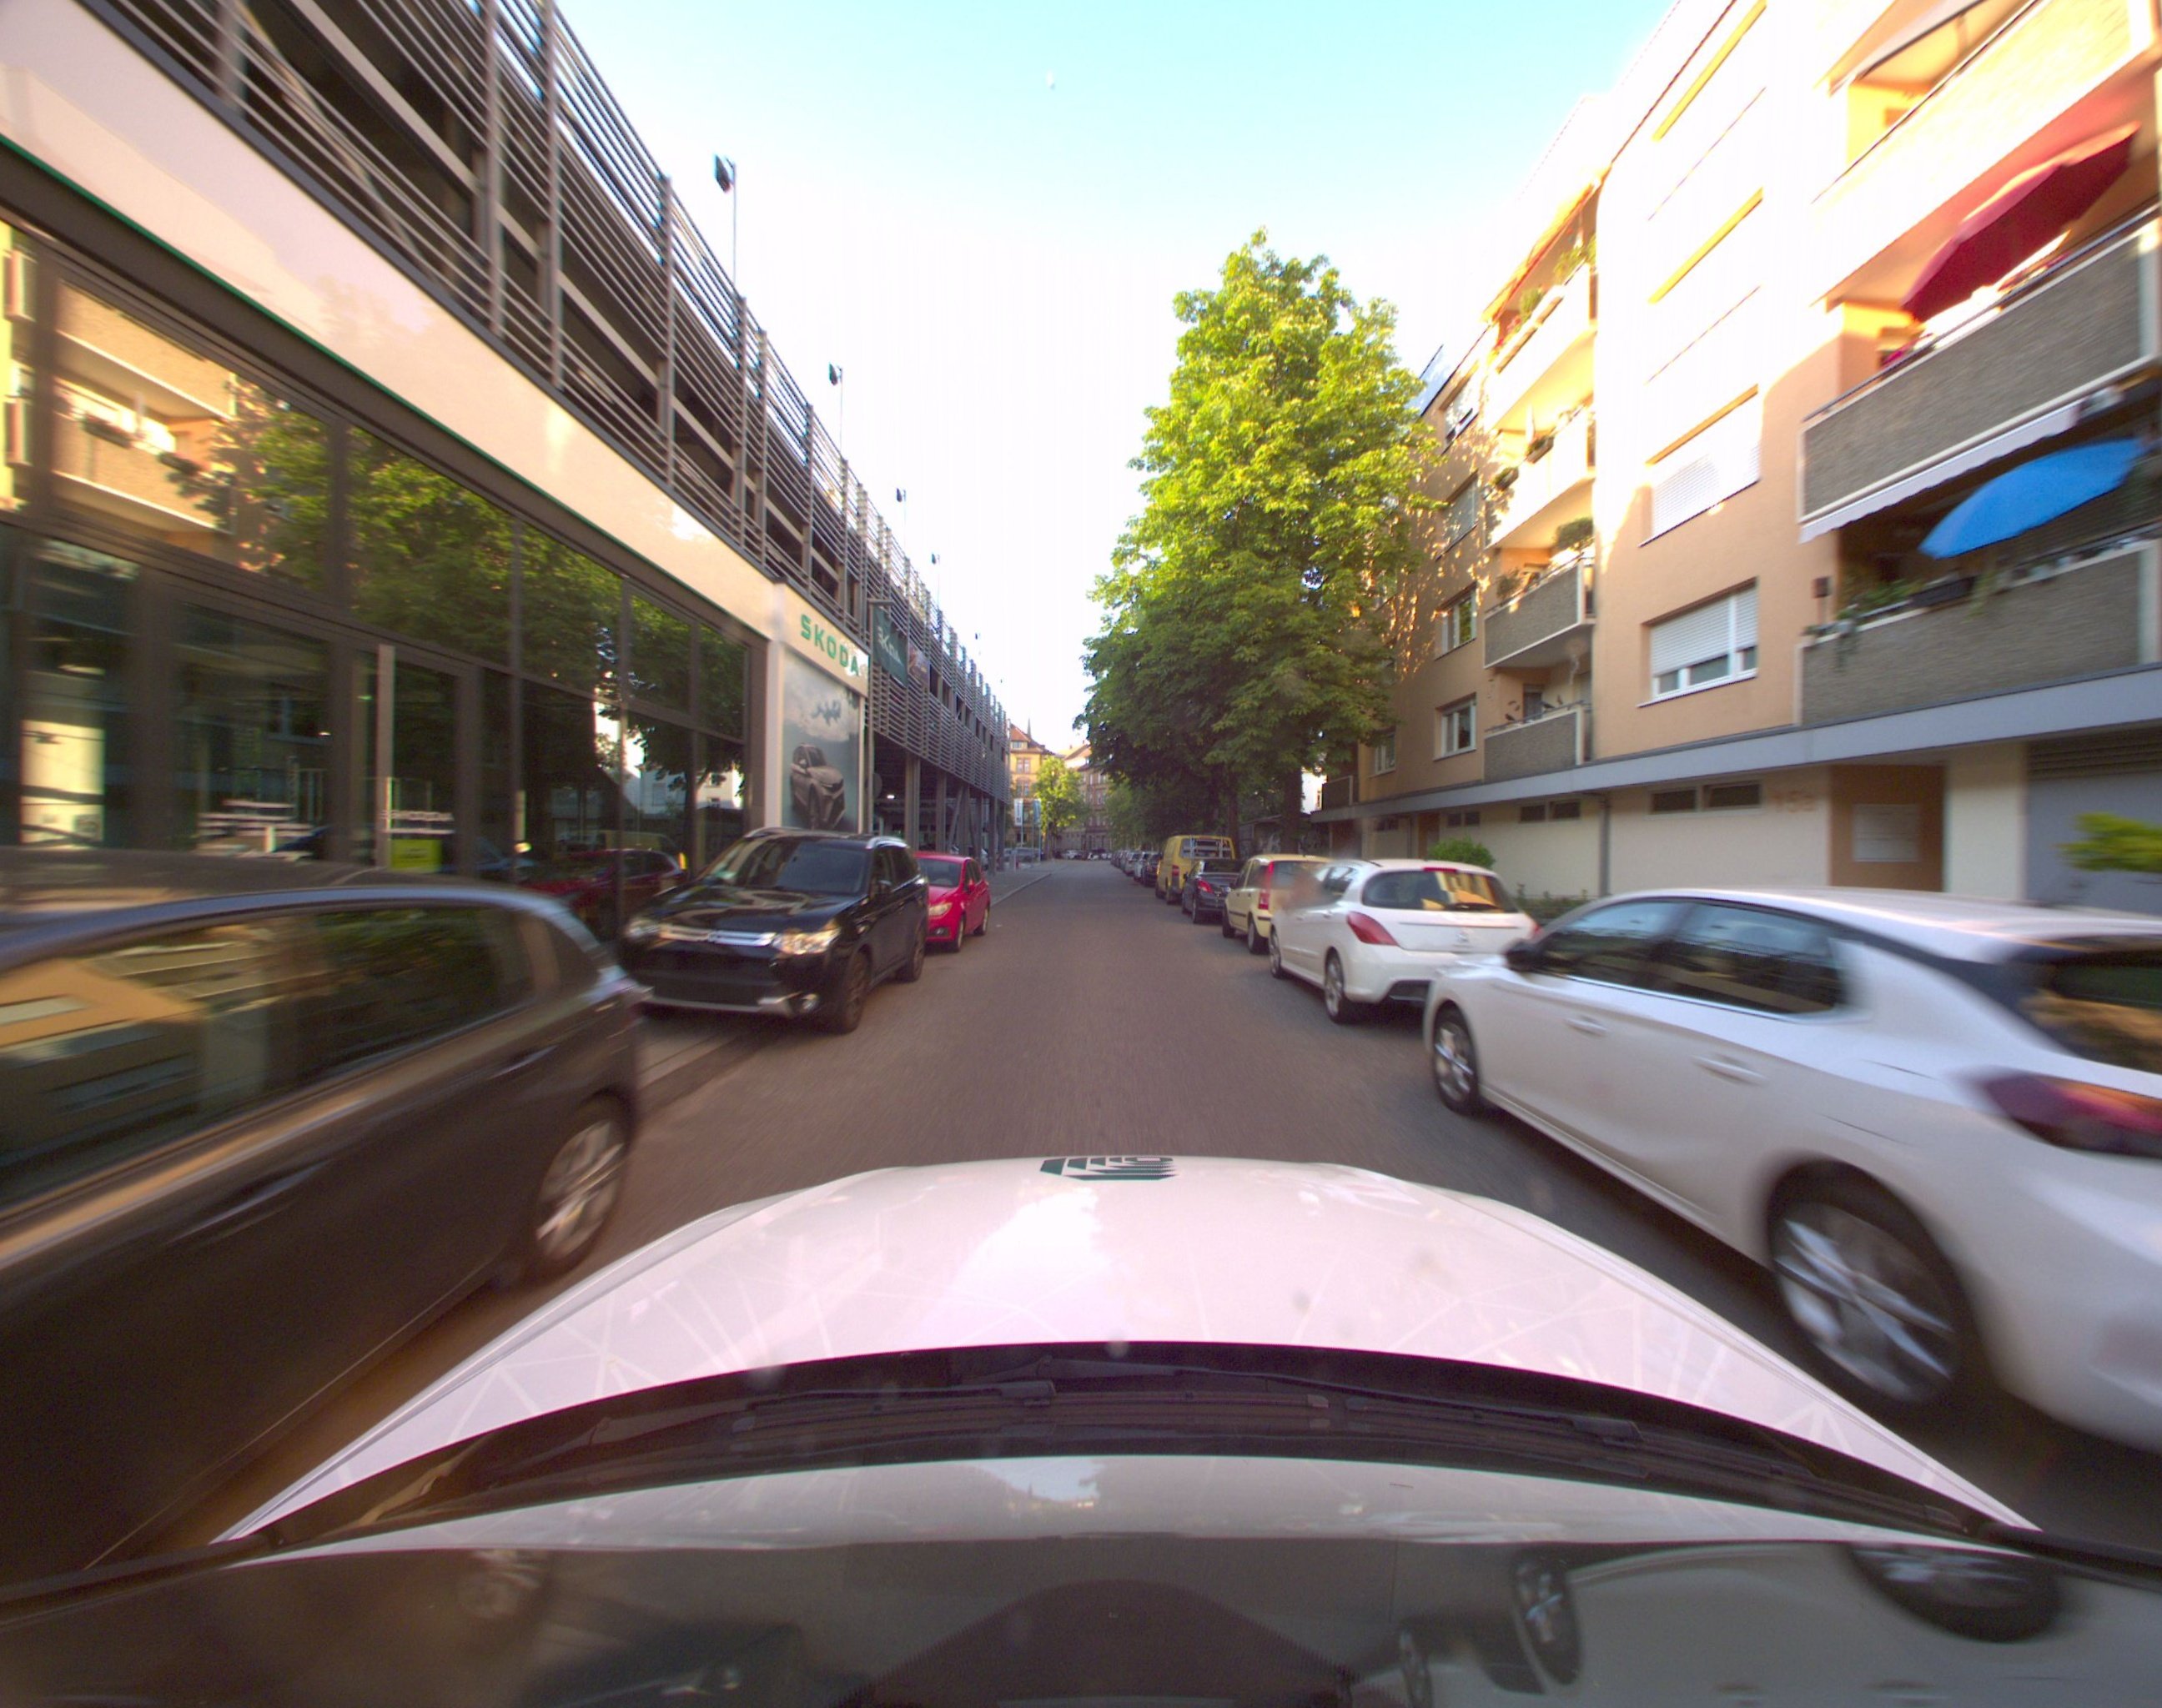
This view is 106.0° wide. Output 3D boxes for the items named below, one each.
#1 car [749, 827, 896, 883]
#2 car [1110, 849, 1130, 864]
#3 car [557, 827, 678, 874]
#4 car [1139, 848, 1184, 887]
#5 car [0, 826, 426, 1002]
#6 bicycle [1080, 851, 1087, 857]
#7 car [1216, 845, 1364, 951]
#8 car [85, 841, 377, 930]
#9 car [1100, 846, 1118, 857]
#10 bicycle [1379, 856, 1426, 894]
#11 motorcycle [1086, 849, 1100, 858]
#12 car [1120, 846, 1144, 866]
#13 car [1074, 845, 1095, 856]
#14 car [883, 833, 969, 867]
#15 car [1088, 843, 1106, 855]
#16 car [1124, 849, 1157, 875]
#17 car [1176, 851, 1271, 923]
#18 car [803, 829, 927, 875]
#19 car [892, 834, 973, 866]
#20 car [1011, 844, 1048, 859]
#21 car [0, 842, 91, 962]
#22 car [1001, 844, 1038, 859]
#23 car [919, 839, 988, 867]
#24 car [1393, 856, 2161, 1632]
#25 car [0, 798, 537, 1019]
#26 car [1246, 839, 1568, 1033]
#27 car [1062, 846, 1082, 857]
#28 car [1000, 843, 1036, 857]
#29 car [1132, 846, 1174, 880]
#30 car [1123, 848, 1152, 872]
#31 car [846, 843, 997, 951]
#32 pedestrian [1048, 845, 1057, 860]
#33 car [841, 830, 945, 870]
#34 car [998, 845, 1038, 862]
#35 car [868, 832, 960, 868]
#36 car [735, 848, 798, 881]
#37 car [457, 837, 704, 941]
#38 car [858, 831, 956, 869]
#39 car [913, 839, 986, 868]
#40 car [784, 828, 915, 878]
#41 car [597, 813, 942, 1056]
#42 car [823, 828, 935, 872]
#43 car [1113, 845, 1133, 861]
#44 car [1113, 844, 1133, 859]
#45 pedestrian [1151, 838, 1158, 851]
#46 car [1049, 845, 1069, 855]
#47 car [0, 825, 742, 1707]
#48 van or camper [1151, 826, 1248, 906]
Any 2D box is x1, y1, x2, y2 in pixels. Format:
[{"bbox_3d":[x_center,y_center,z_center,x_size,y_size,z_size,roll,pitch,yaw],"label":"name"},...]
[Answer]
[{"bbox_3d":[-8.120,0.009,25.857,4.020,1.683,1.861,0,1,1],"label":"car"},{"bbox_3d":[4.104,0.272,86.877,1.692,1.476,4.207,0,1,-4],"label":"car"},{"bbox_3d":[-13.281,-0.148,23.583,1.415,1.255,3.528,0,1,1],"label":"car"},{"bbox_3d":[3.350,0.531,34.266,1.558,1.450,3.454,0,1,0],"label":"car"},{"bbox_3d":[-10.040,0.551,9.531,1.692,1.658,3.738,0,0,0],"label":"car"},{"bbox_3d":[0.337,0.034,113.085,0.421,0.822,1.470,1,2,23],"label":"bicycle"},{"bbox_3d":[3.349,0.626,13.647,1.604,1.510,3.478,0,1,0],"label":"car"},{"bbox_3d":[-13.845,0.441,13.536,1.415,1.255,3.215,0,1,1],"label":"car"},{"bbox_3d":[4.222,-0.420,123.556,1.682,1.525,2.746,1,1,-24],"label":"car"},{"bbox_3d":[8.599,0.540,21.836,0.521,0.921,1.835,0,1,0],"label":"bicycle"},{"bbox_3d":[1.717,-0.079,115.196,1.931,1.340,0.575,0,1,-10],"label":"motorcycle"},{"bbox_3d":[4.076,0.135,65.927,1.753,1.604,3.874,0,1,1],"label":"car"},{"bbox_3d":[0.512,-0.541,118.502,1.662,1.430,3.960,1,2,-23],"label":"car"},{"bbox_3d":[-8.084,-0.235,42.743,4.088,1.683,1.861,0,1,1],"label":"car"},{"bbox_3d":[2.530,-0.847,127.015,1.682,1.782,2.992,1,1,-24],"label":"car"},{"bbox_3d":[3.631,0.472,50.113,1.753,1.442,4.006,0,1,1],"label":"car"},{"bbox_3d":[3.147,0.661,18.665,1.600,1.381,4.003,0,1,2],"label":"car"},{"bbox_3d":[-8.128,-0.095,30.906,4.134,1.683,1.861,0,1,1],"label":"car"},{"bbox_3d":[-8.154,-0.259,44.889,4.049,1.683,1.861,0,1,1],"label":"car"},{"bbox_3d":[-6.801,-0.334,107.148,4.822,1.732,1.917,1,1,-6],"label":"car"},{"bbox_3d":[-13.778,0.594,8.653,1.692,1.434,3.920,0,1,0],"label":"car"},{"bbox_3d":[-6.871,-0.288,91.550,4.056,1.617,1.764,0,1,-2],"label":"car"},{"bbox_3d":[-8.105,-0.085,52.158,4.065,1.683,1.861,0,1,1],"label":"car"},{"bbox_3d":[2.965,0.787,3.650,1.604,1.461,4.054,0,1,0],"label":"car"},{"bbox_3d":[-7.906,0.371,8.323,1.692,1.658,4.410,0,1,0],"label":"car"},{"bbox_3d":[3.061,0.623,8.682,1.786,1.562,4.194,0,1,0],"label":"car"},{"bbox_3d":[-1.426,-0.366,122.884,1.661,1.430,4.138,1,2,-21],"label":"car"},{"bbox_3d":[-7.385,-0.513,95.662,4.037,1.475,1.918,2,1,-4],"label":"car"},{"bbox_3d":[3.451,0.401,39.638,1.716,1.519,4.026,0,1,0],"label":"car"},{"bbox_3d":[3.775,0.382,54.986,1.753,1.454,4.393,0,1,1],"label":"car"},{"bbox_3d":[-2.454,0.586,13.406,1.692,1.506,3.791,0,1,0],"label":"car"},{"bbox_3d":[-3.403,-0.227,98.245,0.737,1.804,1.114,0,1,-20],"label":"pedestrian"},{"bbox_3d":[-8.161,-0.208,35.636,4.068,1.683,1.861,0,1,1],"label":"car"},{"bbox_3d":[-6.822,-0.098,88.178,4.118,1.617,1.912,2,1,-2],"label":"car"},{"bbox_3d":[-8.193,-0.229,40.247,4.088,1.683,1.861,0,1,1],"label":"car"},{"bbox_3d":[-13.149,0.421,34.212,1.352,1.255,3.215,0,1,1],"label":"car"},{"bbox_3d":[-7.951,0.462,13.409,1.692,1.473,3.782,0,1,0],"label":"car"},{"bbox_3d":[-8.030,-0.217,37.867,4.088,1.683,1.861,0,1,1],"label":"car"},{"bbox_3d":[-7.991,-0.070,49.603,4.072,1.683,1.861,0,1,1],"label":"car"},{"bbox_3d":[-8.036,-0.061,28.496,4.020,1.683,1.861,0,1,1],"label":"car"},{"bbox_3d":[-2.631,0.545,8.097,1.692,1.756,4.403,0,1,0],"label":"car"},{"bbox_3d":[-8.154,-0.184,33.104,4.011,1.683,1.861,0,1,1],"label":"car"},{"bbox_3d":[3.966,-0.154,77.509,1.689,1.476,4.117,0,1,1],"label":"car"},{"bbox_3d":[4.253,-0.271,82.467,1.691,1.476,3.556,0,1,-3],"label":"car"},{"bbox_3d":[10.657,-1.362,118.002,0.843,1.804,0.771,0,1,-20],"label":"pedestrian"},{"bbox_3d":[-3.455,-0.664,127.376,1.662,1.430,3.866,1,2,-23],"label":"car"},{"bbox_3d":[-2.600,0.740,1.637,1.929,1.596,4.208,1,1,2],"label":"car"},{"bbox_3d":[3.333,0.250,23.988,2.058,2.095,5.090,0,1,-1],"label":"van or camper"}]
